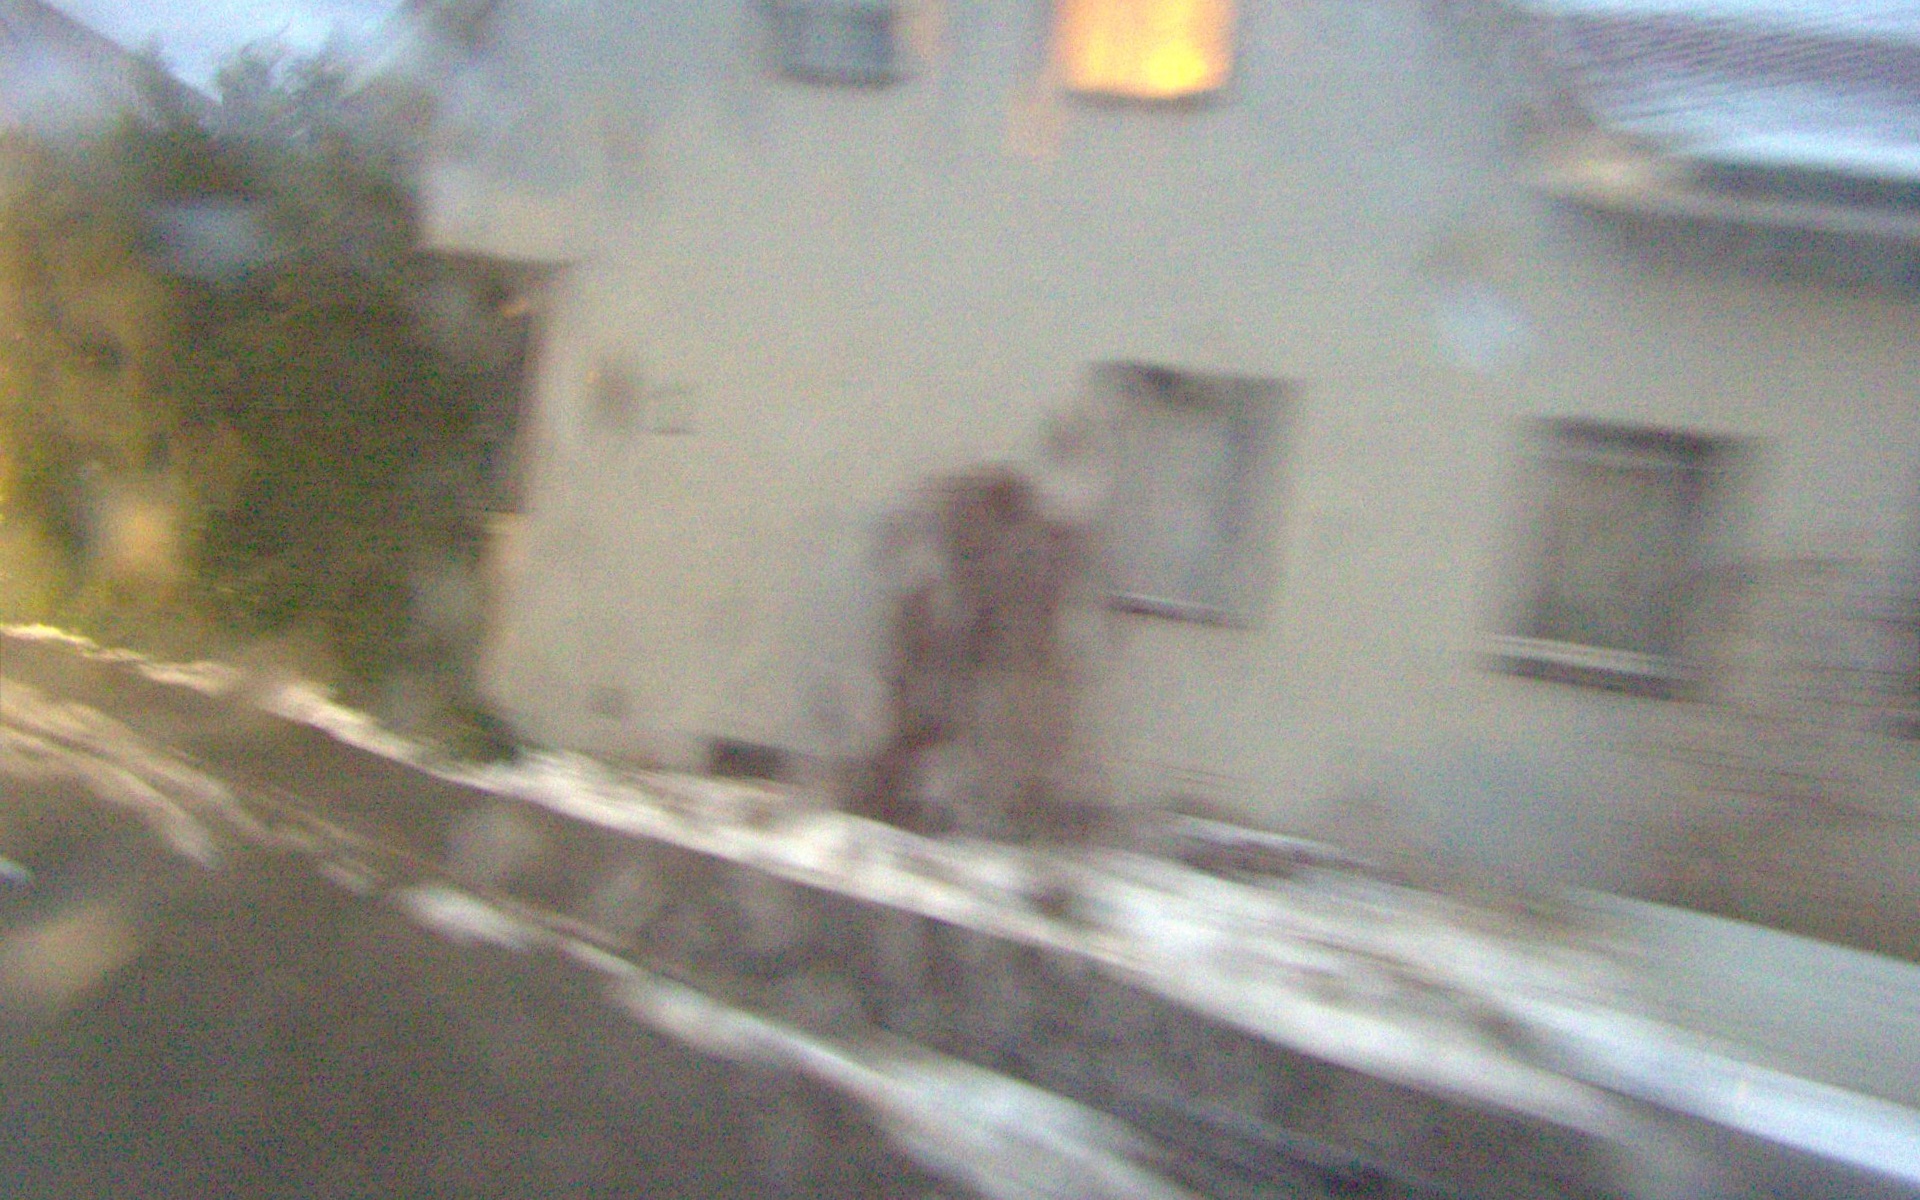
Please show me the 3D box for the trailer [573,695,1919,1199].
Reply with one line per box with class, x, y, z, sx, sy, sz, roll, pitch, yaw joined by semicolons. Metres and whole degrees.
trailer;1.830;1.202;1.326;4.653;1.404;1.997;7;-2;32
